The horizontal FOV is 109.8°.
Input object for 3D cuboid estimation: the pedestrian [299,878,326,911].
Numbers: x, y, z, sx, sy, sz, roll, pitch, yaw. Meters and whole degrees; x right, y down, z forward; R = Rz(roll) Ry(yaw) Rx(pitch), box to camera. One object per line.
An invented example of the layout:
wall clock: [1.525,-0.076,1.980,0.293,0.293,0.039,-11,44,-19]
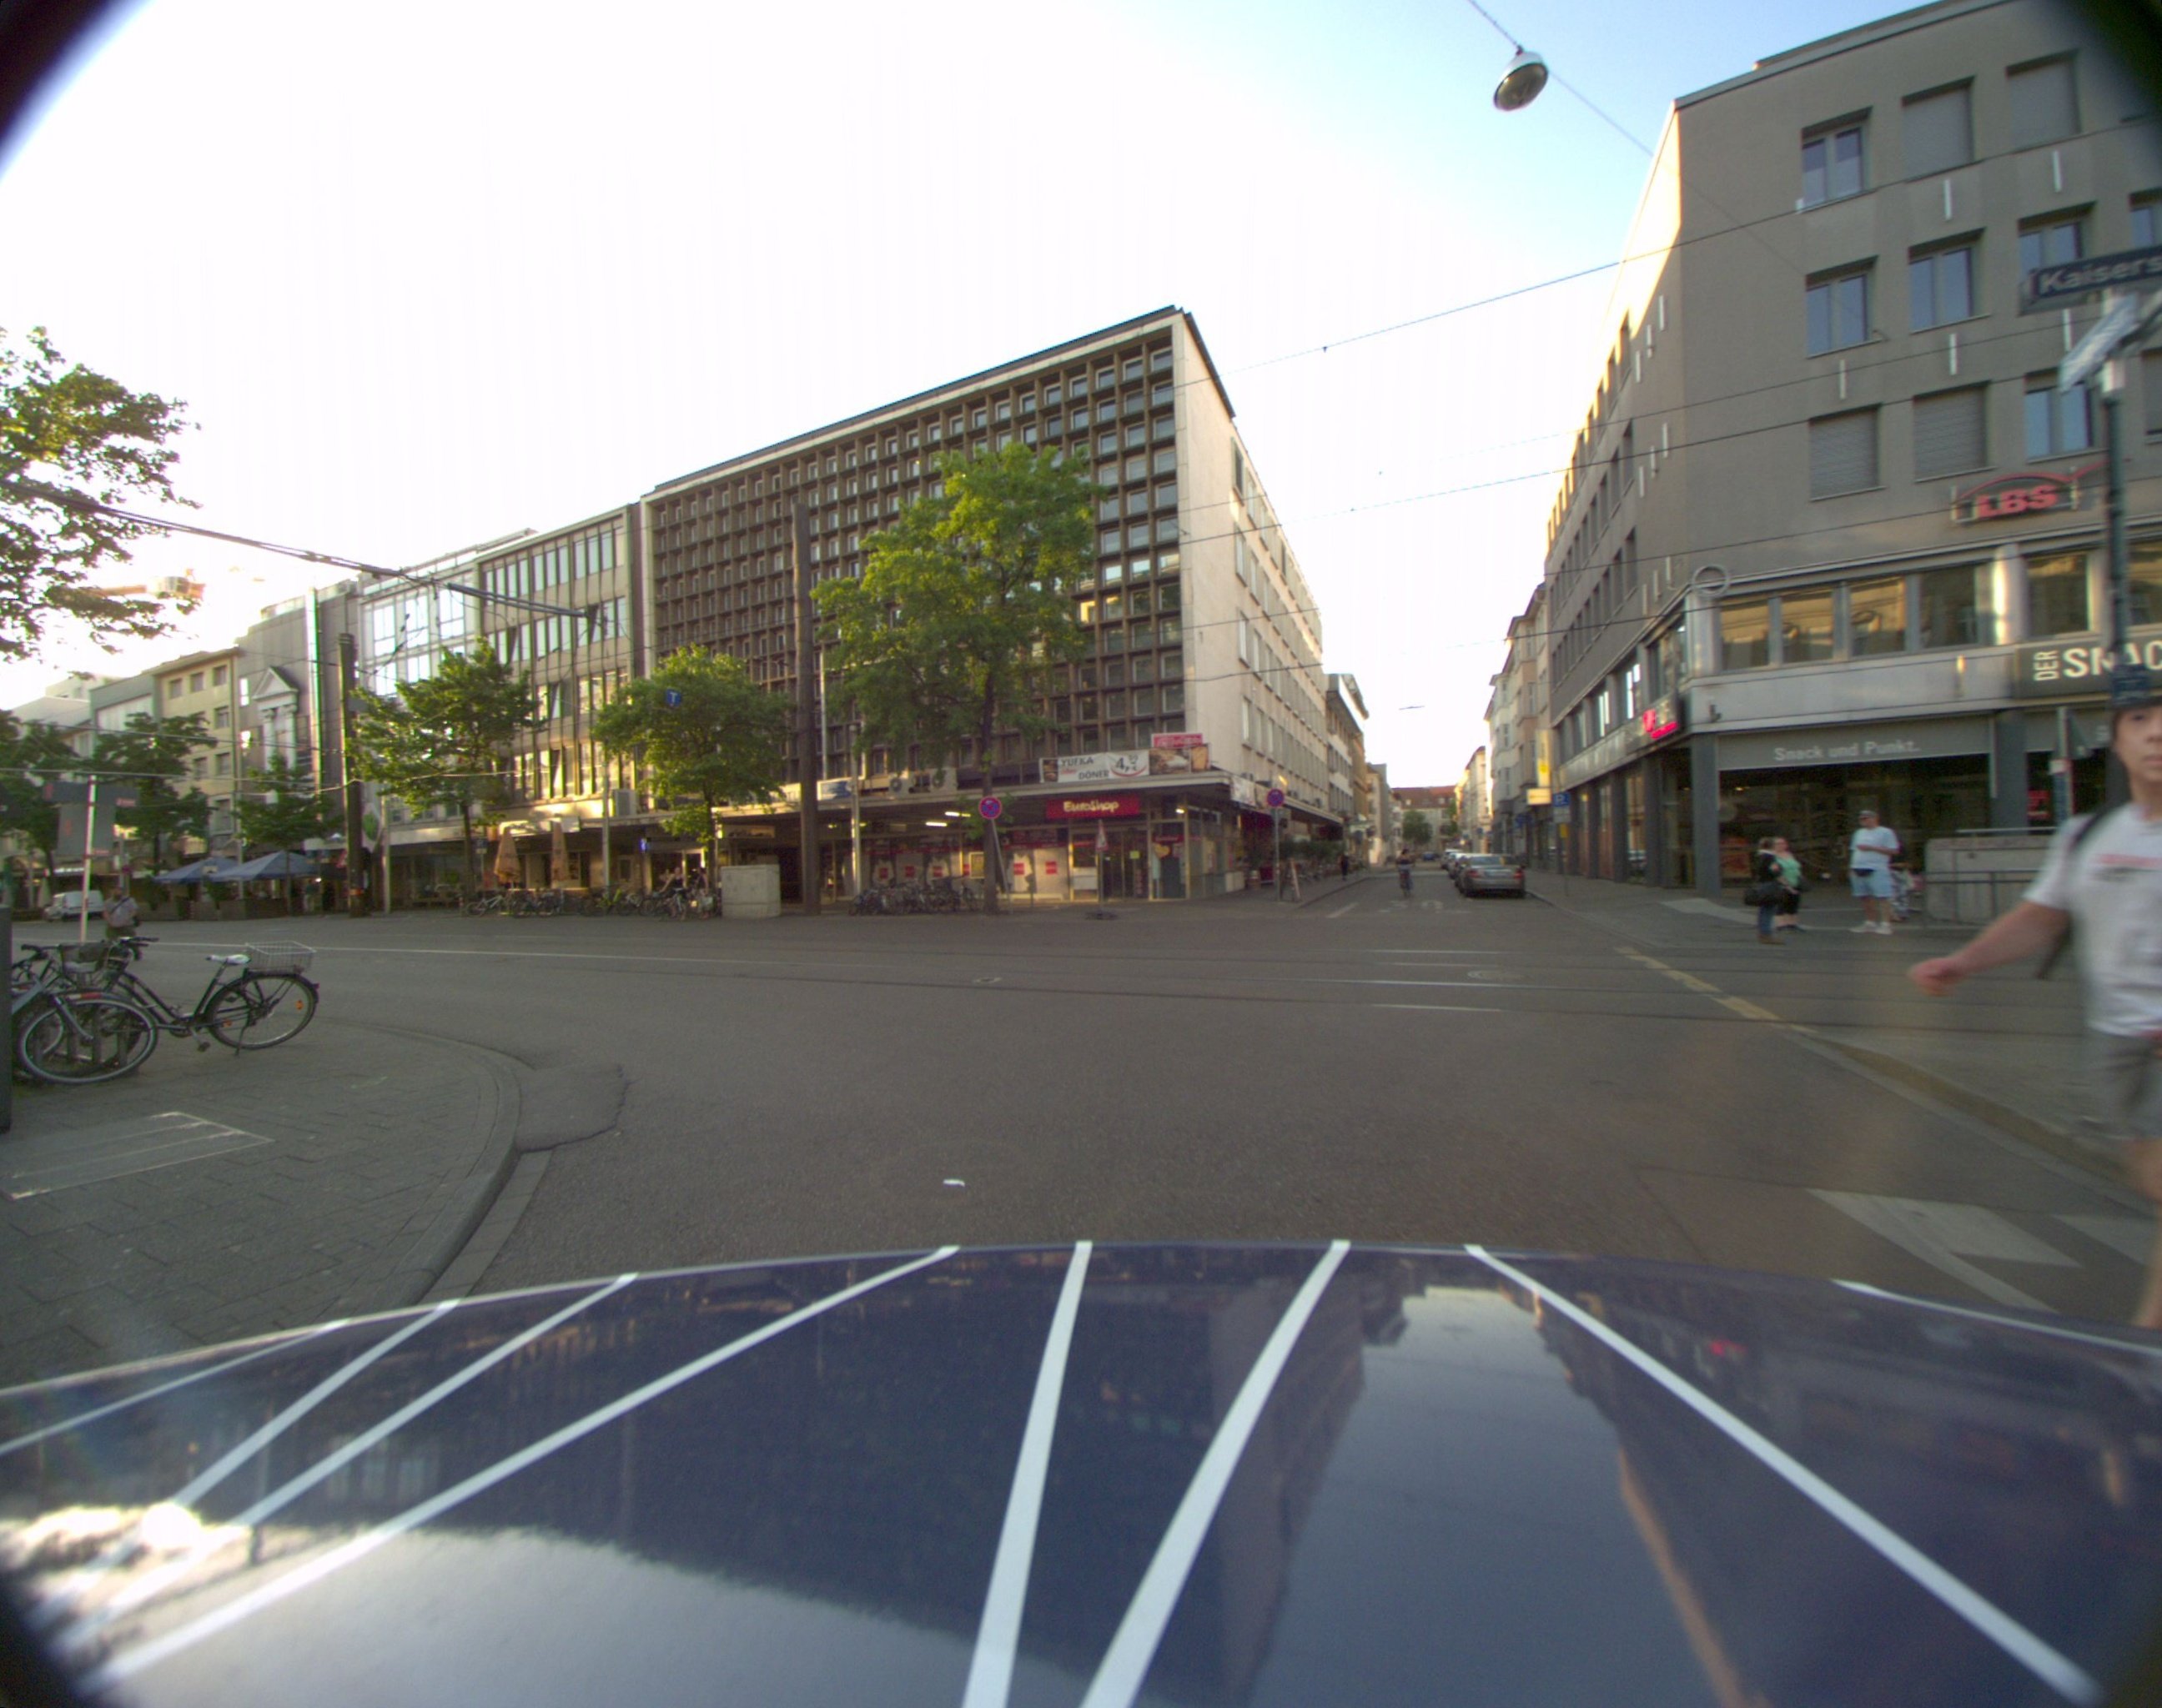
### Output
pedestrian: [-43.416,2.301,42.926,0.988,1.783,0.687,-1,3,27]

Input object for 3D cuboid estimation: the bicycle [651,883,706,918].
bicycle: [-14.138,1.629,26.732,0.488,1.065,1.779,-3,1,20]

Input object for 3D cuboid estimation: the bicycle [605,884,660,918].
bicycle: [-16.333,1.700,27.728,0.488,1.065,1.779,-3,1,20]

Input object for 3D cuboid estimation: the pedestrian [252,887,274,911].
pedestrian: [-51.921,2.831,48.237,0.641,1.427,0.663,-1,5,25]

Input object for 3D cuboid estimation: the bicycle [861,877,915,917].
bicycle: [-5.765,1.272,22.816,0.488,1.039,1.780,-3,1,25]

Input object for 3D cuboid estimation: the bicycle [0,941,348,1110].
bicycle: [-7.821,1.398,6.685,0.665,1.102,1.862,-2,-2,23]

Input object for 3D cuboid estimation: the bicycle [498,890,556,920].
bicycle: [-21.438,1.968,29.432,0.488,0.984,1.780,-3,1,20]

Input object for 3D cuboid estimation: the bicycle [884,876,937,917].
bicycle: [-5.013,1.248,22.492,0.488,1.039,1.780,-3,1,25]

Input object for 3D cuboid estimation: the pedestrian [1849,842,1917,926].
pedestrian: [14.003,0.508,13.276,0.556,1.425,0.683,-1,0,-27]

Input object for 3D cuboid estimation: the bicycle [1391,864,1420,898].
bicycle: [11.670,0.957,27.289,0.816,1.067,2.117,-3,0,25]

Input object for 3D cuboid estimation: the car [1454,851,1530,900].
car: [13.793,0.665,25.697,1.796,1.501,4.140,-1,0,22]

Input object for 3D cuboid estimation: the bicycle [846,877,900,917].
bicycle: [-6.282,1.289,23.056,0.488,1.039,1.780,-3,1,25]

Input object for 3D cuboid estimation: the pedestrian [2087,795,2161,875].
pedestrian: [23.011,-0.406,16.761,0.708,1.715,0.717,-1,0,23]

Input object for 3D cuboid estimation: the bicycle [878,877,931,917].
bicycle: [-5.231,1.255,22.596,0.488,1.039,1.780,-3,1,25]

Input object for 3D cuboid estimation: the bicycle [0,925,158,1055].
bicycle: [-11.778,1.494,8.353,0.724,1.324,1.925,-2,-2,20]

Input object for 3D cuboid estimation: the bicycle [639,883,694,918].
bicycle: [-14.725,1.648,27.013,0.488,1.065,1.779,-3,1,20]

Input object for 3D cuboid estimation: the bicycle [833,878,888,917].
bicycle: [-6.725,1.303,23.264,0.488,1.039,1.780,-3,1,25]

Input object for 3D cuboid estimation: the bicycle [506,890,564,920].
bicycle: [-20.955,1.952,29.219,0.488,0.984,1.780,-3,1,20]

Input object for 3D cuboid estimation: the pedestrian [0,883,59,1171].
pedestrian: [-6.810,1.030,4.437,0.809,1.684,0.806,-2,-1,21]

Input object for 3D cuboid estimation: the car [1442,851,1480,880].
car: [21.391,0.622,42.842,1.795,1.501,4.007,-1,0,26]

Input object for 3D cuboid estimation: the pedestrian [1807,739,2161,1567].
pedestrian: [2.891,0.656,1.960,1.042,1.852,1.016,-2,1,-5]

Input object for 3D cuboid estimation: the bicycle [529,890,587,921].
bicycle: [-19.679,1.911,28.625,0.488,0.984,1.780,-3,1,20]

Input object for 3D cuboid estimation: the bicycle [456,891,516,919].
bicycle: [-23.948,2.039,30.619,0.488,0.960,1.781,0,3,42]

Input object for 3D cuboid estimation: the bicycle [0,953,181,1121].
bicycle: [-8.060,1.367,5.513,0.665,1.102,1.862,-2,-2,23]

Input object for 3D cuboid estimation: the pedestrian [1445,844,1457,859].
pedestrian: [41.773,-0.281,85.874,0.932,1.651,0.869,-2,0,-43]

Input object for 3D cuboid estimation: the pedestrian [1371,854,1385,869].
pedestrian: [33.823,0.890,86.576,1.297,1.651,1.016,-2,0,27]

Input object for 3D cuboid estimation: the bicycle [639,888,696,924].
bicycle: [-12.885,1.619,23.678,1.774,1.039,0.490,-3,0,22]

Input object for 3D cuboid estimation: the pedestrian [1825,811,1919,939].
pedestrian: [12.271,0.325,11.815,0.708,1.915,0.776,-1,0,17]

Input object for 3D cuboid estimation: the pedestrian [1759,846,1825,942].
pedestrian: [11.376,0.629,12.176,0.554,1.485,0.606,-1,0,17]

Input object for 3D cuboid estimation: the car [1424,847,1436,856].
car: [58.733,-0.377,127.776,1.795,1.501,4.007,-1,0,26]

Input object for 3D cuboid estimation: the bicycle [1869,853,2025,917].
bicycle: [15.998,0.585,14.092,1.796,1.101,0.501,-4,-1,30]

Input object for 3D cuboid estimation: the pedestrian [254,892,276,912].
pedestrian: [-50.465,2.985,46.978,0.664,1.150,0.644,-1,3,23]

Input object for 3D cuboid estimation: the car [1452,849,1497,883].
car: [18.977,0.538,36.793,1.795,1.501,4.007,-1,0,26]

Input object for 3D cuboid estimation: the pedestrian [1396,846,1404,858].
pedestrian: [41.823,-0.262,99.667,0.869,1.651,0.932,-3,0,25]

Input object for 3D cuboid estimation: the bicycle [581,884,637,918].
bicycle: [-17.479,1.738,28.200,0.488,1.065,1.779,-3,1,20]

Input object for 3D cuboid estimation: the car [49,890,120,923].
car: [-63.714,3.359,48.581,4.319,1.812,1.834,-2,3,26]

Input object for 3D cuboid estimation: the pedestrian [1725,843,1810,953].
pedestrian: [9.961,0.619,11.042,0.606,1.532,0.685,-1,0,-17]

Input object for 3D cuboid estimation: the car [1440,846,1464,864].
car: [32.697,0.082,66.971,1.795,1.501,4.007,-1,0,26]

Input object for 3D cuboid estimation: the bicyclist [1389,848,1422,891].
bicyclist: [11.652,0.548,27.297,0.998,1.493,0.858,-3,0,25]

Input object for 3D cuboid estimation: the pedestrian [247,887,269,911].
pedestrian: [-52.577,2.853,48.527,0.641,1.427,0.663,-1,5,25]

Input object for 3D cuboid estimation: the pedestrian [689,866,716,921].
pedestrian: [-12.030,1.237,24.137,0.604,1.689,0.534,-3,1,-36]

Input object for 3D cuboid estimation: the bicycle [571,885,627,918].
bicycle: [-18.011,1.755,28.423,0.488,1.065,1.779,-3,1,20]

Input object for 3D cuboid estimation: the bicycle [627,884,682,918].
bicycle: [-15.242,1.665,27.190,0.488,1.065,1.779,-3,1,20]

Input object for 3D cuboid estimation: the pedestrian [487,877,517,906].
pedestrian: [-27.485,1.793,36.079,0.910,1.318,0.673,-2,3,24]

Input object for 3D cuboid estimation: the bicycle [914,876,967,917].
bicycle: [-4.052,1.217,22.049,0.488,1.039,1.780,-3,1,25]

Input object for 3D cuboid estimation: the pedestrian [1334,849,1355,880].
pedestrian: [14.644,0.593,42.236,0.869,1.651,0.932,-3,0,28]

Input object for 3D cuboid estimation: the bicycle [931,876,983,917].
bicycle: [-3.541,1.200,21.774,0.488,1.039,1.780,-3,1,25]

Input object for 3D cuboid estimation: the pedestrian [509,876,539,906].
pedestrian: [-26.285,1.744,35.843,0.910,1.318,0.673,-2,3,24]

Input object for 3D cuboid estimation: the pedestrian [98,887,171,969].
pedestrian: [-22.025,1.691,17.684,0.988,1.783,0.824,-2,3,32]

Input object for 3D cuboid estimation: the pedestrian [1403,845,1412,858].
pedestrian: [42.681,-0.289,99.198,0.975,1.651,0.980,-3,0,25]

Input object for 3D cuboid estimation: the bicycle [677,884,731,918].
bicycle: [-12.448,1.563,25.063,1.774,1.039,0.490,-3,0,22]

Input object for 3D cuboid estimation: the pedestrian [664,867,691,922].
pedestrian: [-12.728,1.263,23.940,0.604,1.689,0.534,-3,1,-36]
